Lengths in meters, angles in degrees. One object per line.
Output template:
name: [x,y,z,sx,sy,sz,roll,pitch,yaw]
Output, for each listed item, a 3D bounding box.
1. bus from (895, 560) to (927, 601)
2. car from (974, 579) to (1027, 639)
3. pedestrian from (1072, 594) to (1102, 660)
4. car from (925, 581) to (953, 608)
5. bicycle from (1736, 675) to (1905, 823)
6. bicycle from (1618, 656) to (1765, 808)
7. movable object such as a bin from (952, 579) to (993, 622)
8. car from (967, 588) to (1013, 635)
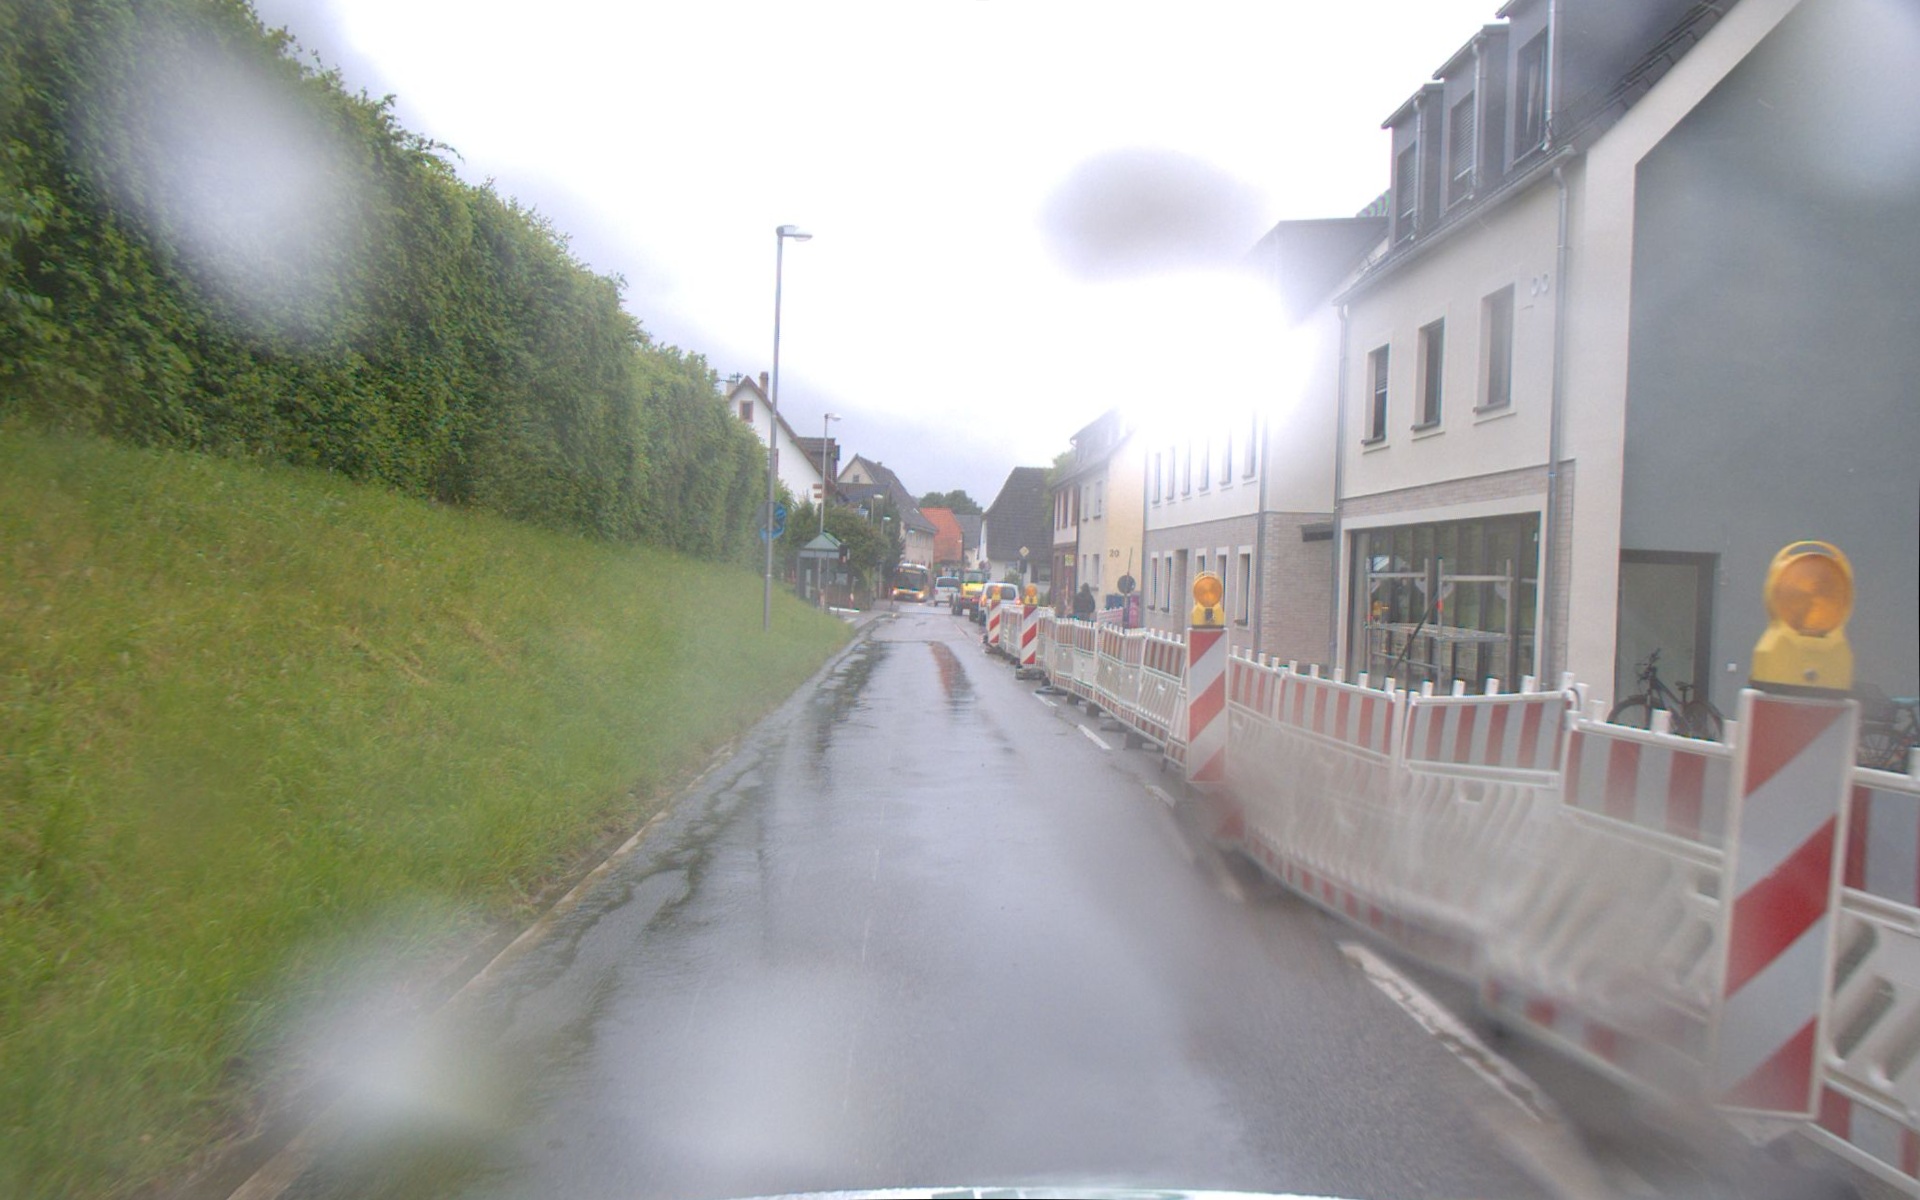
bus: [-3.969,-1.572,135.952,2.196,3.157,7.030,3,0,0]
car: [1.731,0.378,71.982,1.953,2.416,4.094,3,0,-2]
pedestrian: [3.533,0.749,46.138,0.652,1.786,0.811,3,0,-2]
car: [-1.464,-0.382,113.080,1.781,1.670,4.094,3,0,-2]
bicycle: [7.587,1.280,14.669,0.507,1.122,1.789,3,0,0]
bicycle: [6.762,1.189,15.382,0.507,1.241,1.789,3,0,0]
movable object such as a bin: [0.665,0.039,91.096,1.954,2.210,3.998,3,0,-2]
car: [1.406,0.521,78.642,1.953,2.048,3.999,3,0,-1]
